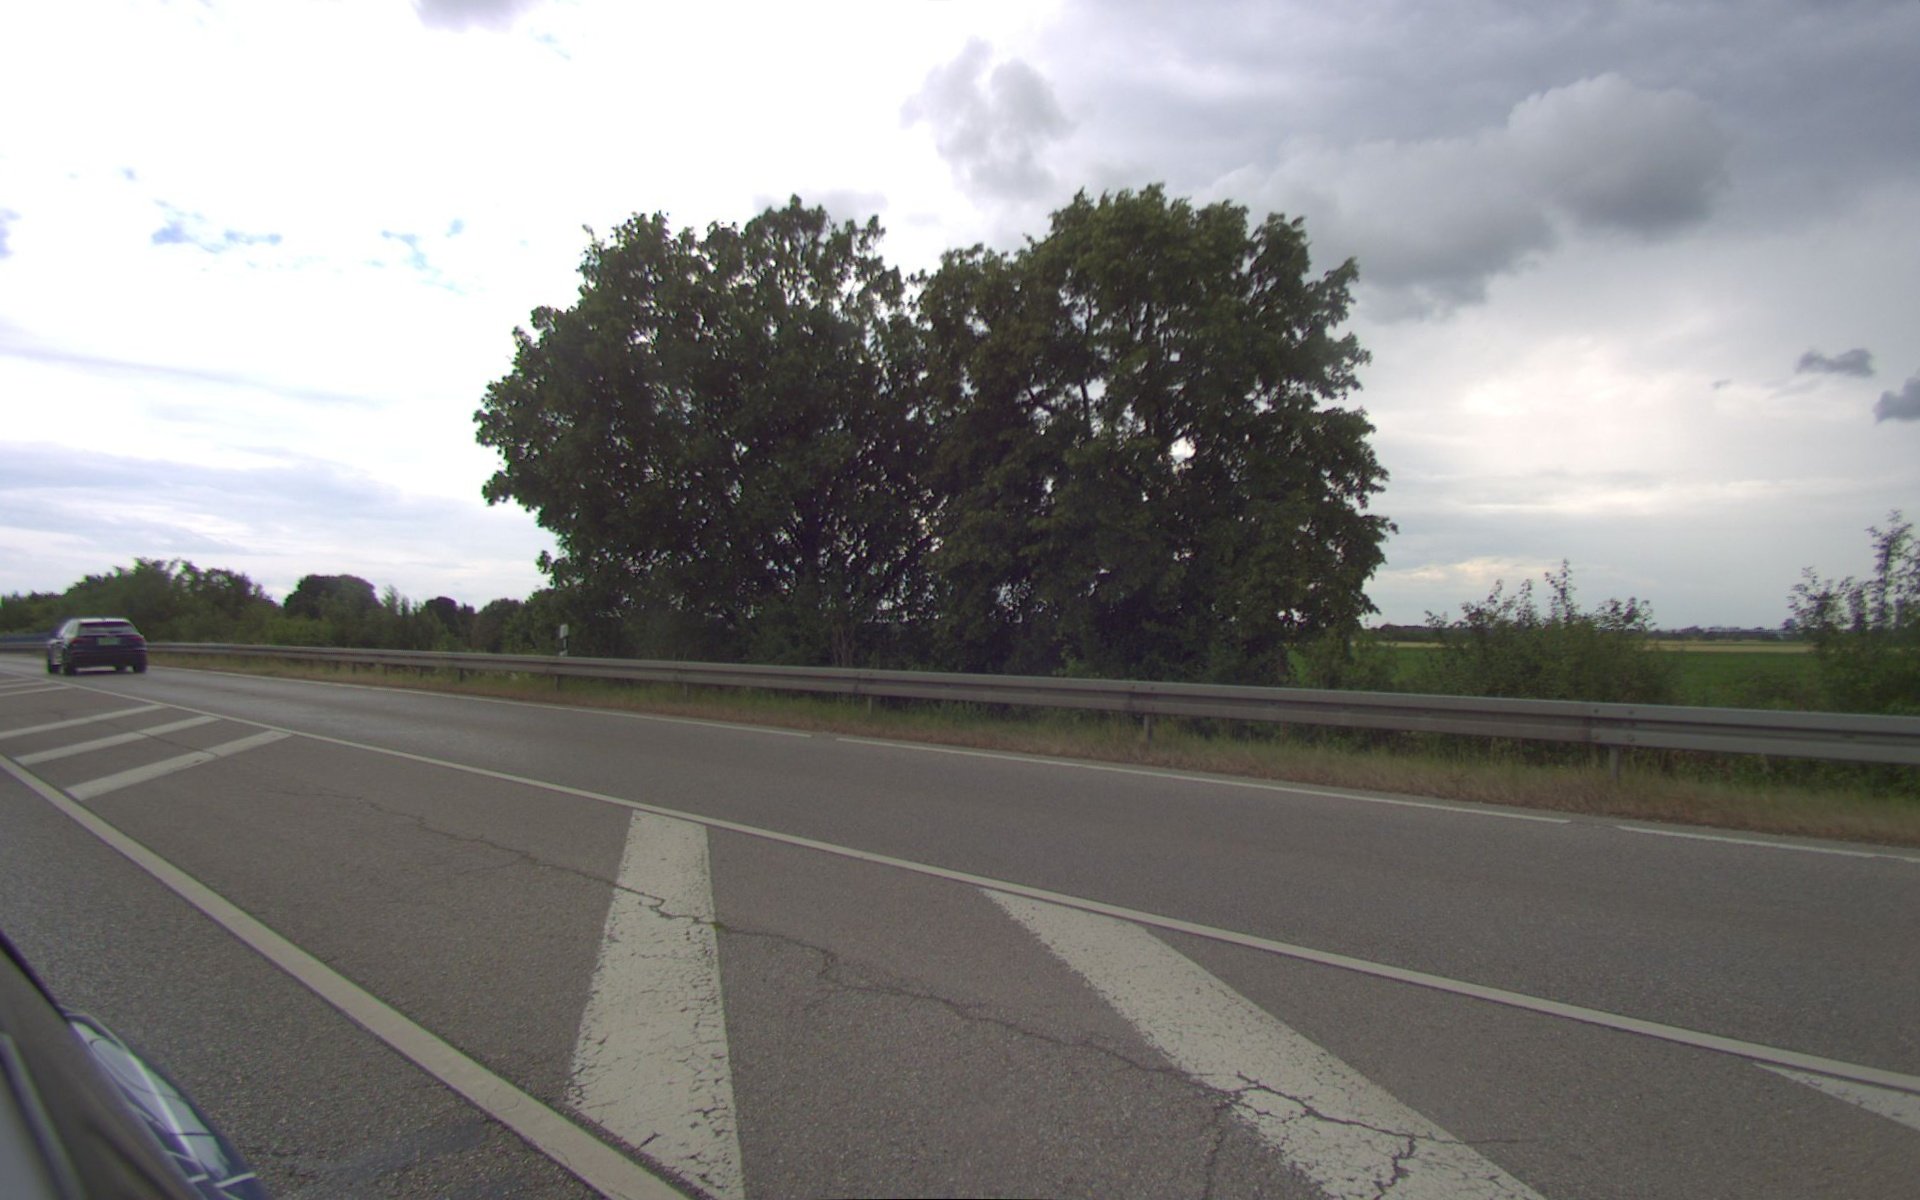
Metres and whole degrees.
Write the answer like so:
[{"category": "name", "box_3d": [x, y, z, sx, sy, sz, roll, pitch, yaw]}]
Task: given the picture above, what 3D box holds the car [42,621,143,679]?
[{"category": "car", "box_3d": [-25.332, 1.414, 29.499, 4.208, 1.530, 1.692, -2, -1, 42]}]
